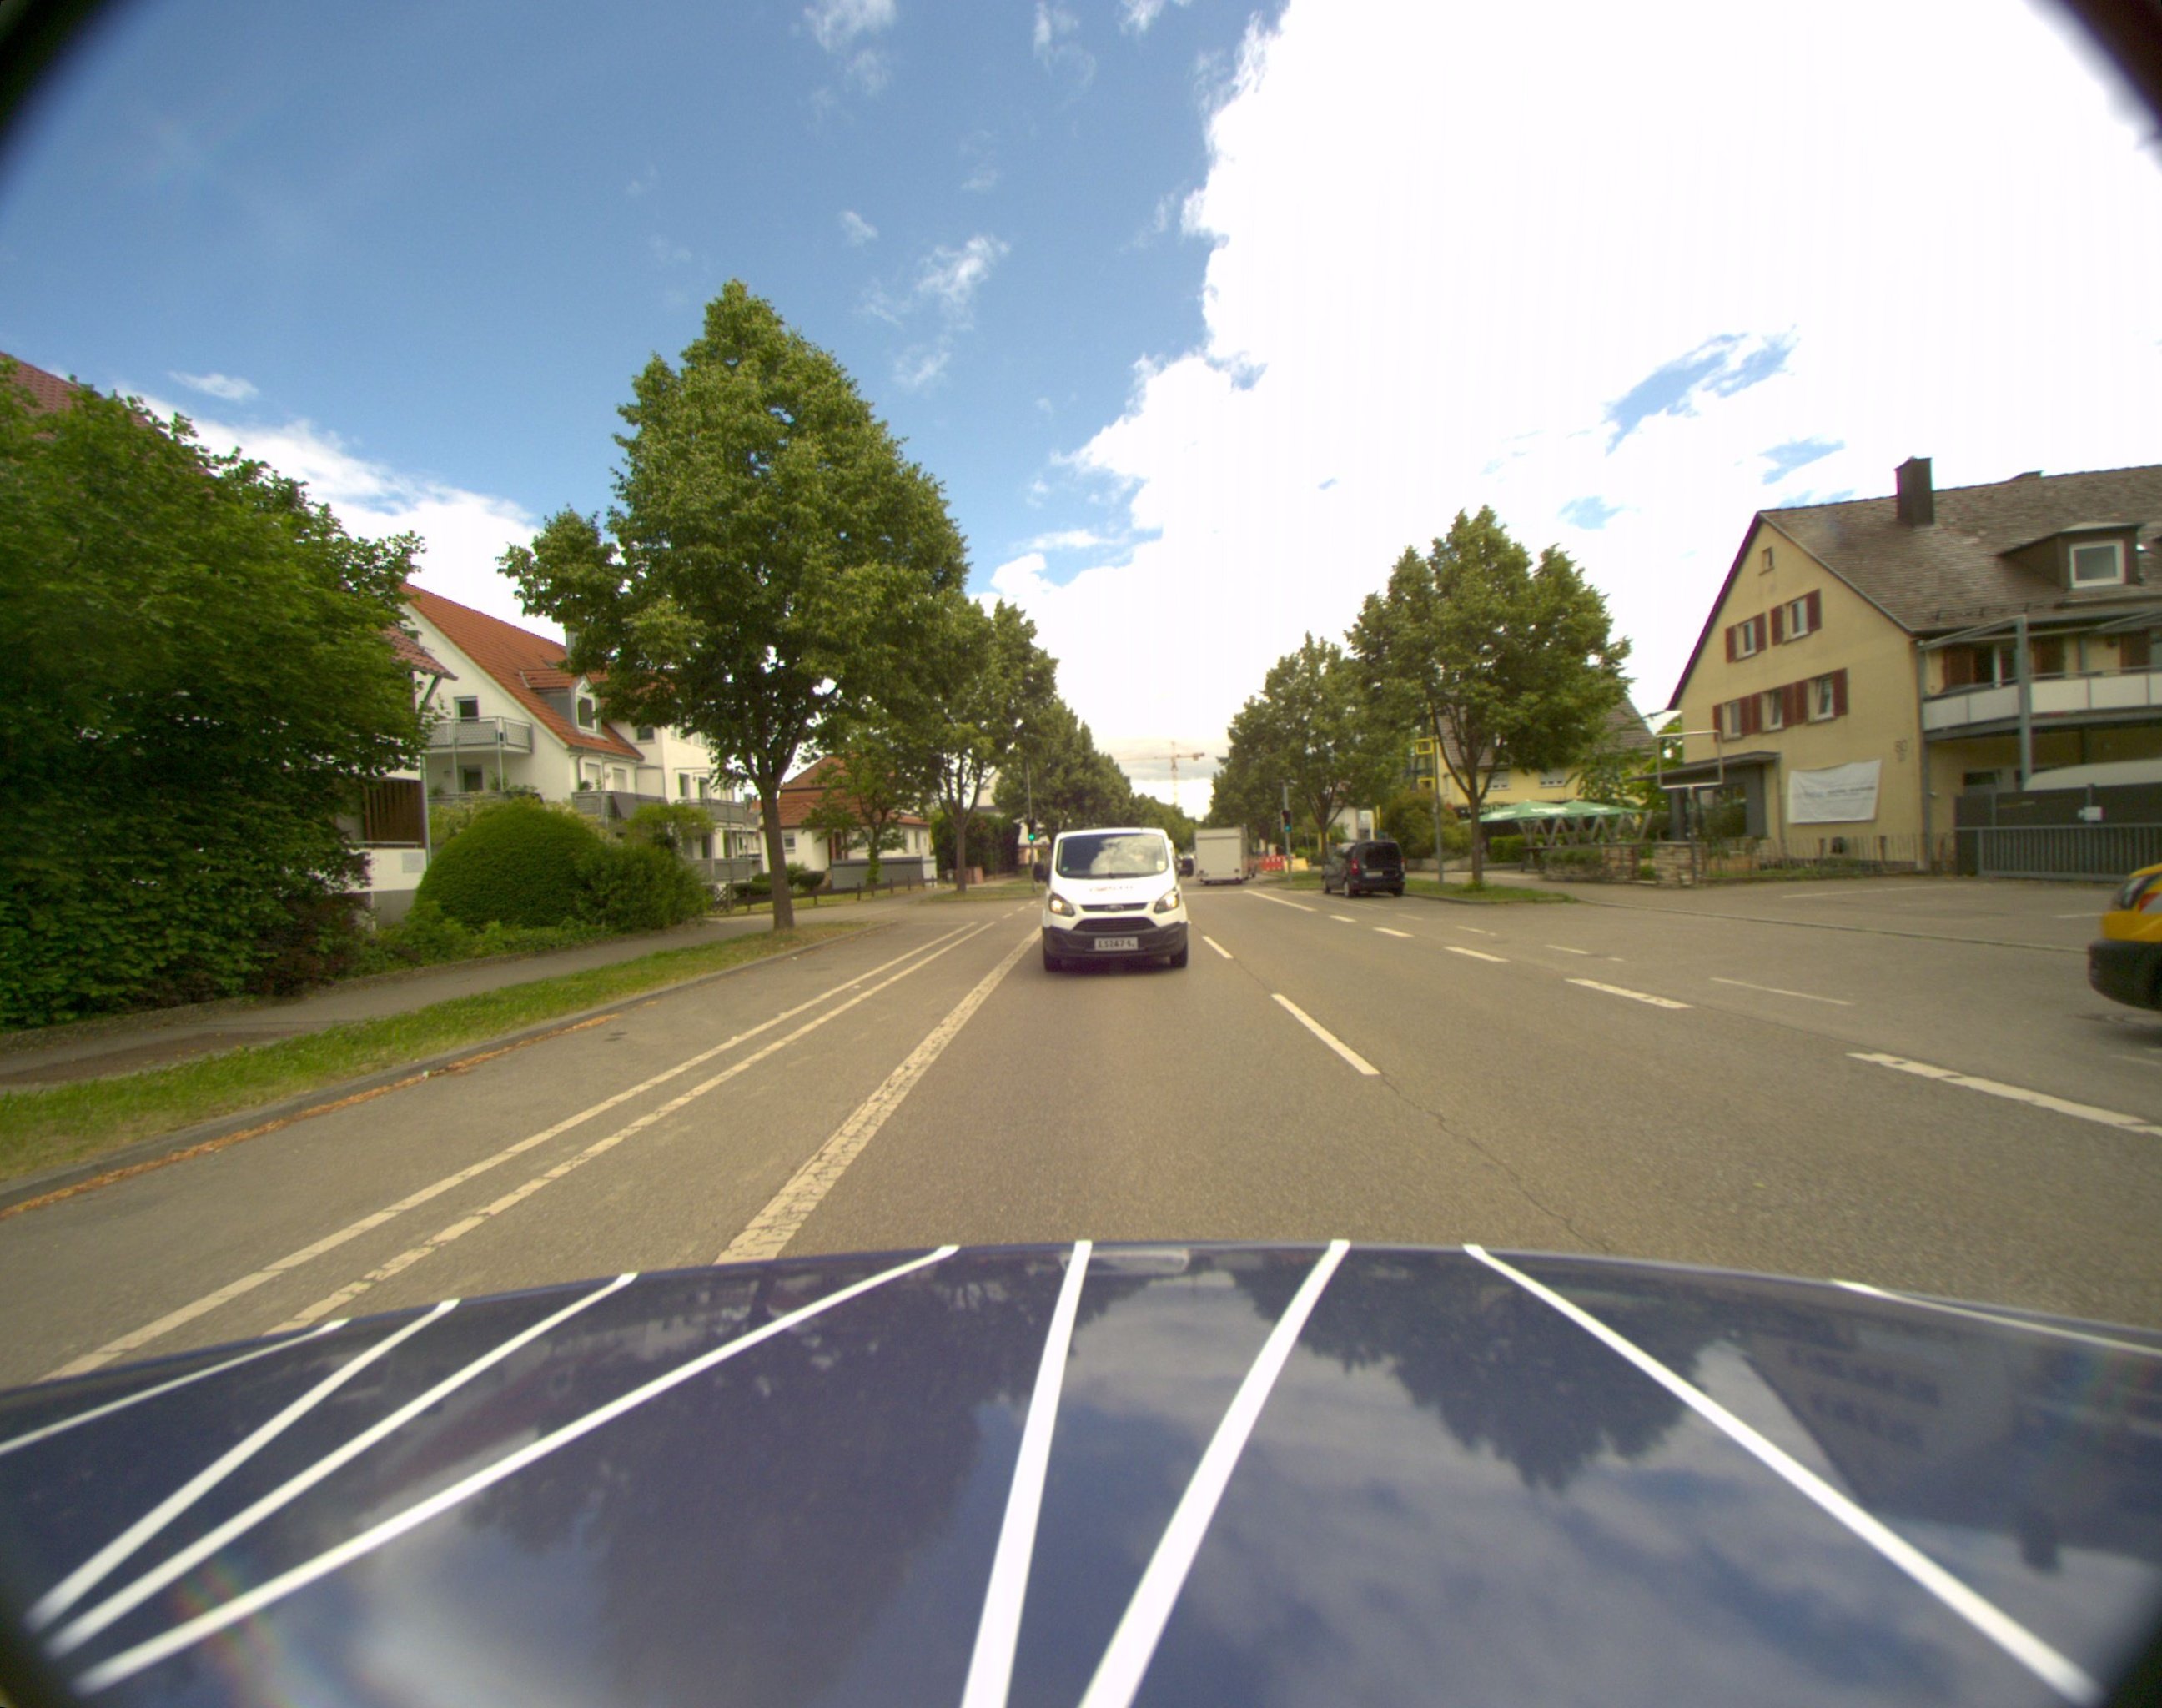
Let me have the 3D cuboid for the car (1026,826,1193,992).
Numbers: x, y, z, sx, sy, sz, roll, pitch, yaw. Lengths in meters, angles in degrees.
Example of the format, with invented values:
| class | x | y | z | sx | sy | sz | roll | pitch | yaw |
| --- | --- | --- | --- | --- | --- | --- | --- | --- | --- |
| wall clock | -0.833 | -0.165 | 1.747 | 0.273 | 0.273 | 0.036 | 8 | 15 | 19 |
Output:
| class | x | y | z | sx | sy | sz | roll | pitch | yaw |
| --- | --- | --- | --- | --- | --- | --- | --- | --- | --- |
| car | 0.583 | 0.689 | 12.079 | 1.998 | 2.002 | 5.320 | -2 | 0 | 5 |

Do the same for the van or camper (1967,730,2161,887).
| class | x | y | z | sx | sy | sz | roll | pitch | yaw |
| --- | --- | --- | --- | --- | --- | --- | --- | --- | --- |
| van or camper | 21.153 | -0.878 | 14.360 | 2.600 | 2.867 | 5.942 | -2 | 0 | 11 |

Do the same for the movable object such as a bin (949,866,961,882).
| class | x | y | z | sx | sy | sz | roll | pitch | yaw |
| --- | --- | --- | --- | --- | --- | --- | --- | --- | --- |
| movable object such as a bin | -8.296 | 1.312 | 50.020 | 0.540 | 1.052 | 0.519 | -2 | 1 | 18 |

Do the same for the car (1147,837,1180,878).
| class | x | y | z | sx | sy | sz | roll | pitch | yaw |
| --- | --- | --- | --- | --- | --- | --- | --- | --- | --- |
| car | 5.678 | 0.218 | 51.987 | 1.997 | 2.584 | 4.003 | -3 | 0 | 8 |

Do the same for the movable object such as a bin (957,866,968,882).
| class | x | y | z | sx | sy | sz | roll | pitch | yaw |
| --- | --- | --- | --- | --- | --- | --- | --- | --- | --- |
| movable object such as a bin | -7.787 | 1.290 | 49.852 | 0.499 | 1.038 | 0.520 | -2 | 1 | 17 |

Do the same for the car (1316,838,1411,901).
| class | x | y | z | sx | sy | sz | roll | pitch | yaw |
| --- | --- | --- | --- | --- | --- | --- | --- | --- | --- |
| car | 9.198 | 0.464 | 25.092 | 1.711 | 1.863 | 4.399 | -2 | 0 | 4 |

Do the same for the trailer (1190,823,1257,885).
| class | x | y | z | sx | sy | sz | roll | pitch | yaw |
| --- | --- | --- | --- | --- | --- | --- | --- | --- | --- |
| trailer | 7.522 | -0.006 | 39.503 | 2.638 | 2.862 | 6.878 | -2 | 0 | 16 |

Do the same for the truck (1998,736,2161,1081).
| class | x | y | z | sx | sy | sz | roll | pitch | yaw |
| --- | --- | --- | --- | --- | --- | --- | --- | --- | --- |
| truck | 8.100 | 0.333 | 2.630 | 2.300 | 2.274 | 6.465 | -2 | 0 | 4 |
